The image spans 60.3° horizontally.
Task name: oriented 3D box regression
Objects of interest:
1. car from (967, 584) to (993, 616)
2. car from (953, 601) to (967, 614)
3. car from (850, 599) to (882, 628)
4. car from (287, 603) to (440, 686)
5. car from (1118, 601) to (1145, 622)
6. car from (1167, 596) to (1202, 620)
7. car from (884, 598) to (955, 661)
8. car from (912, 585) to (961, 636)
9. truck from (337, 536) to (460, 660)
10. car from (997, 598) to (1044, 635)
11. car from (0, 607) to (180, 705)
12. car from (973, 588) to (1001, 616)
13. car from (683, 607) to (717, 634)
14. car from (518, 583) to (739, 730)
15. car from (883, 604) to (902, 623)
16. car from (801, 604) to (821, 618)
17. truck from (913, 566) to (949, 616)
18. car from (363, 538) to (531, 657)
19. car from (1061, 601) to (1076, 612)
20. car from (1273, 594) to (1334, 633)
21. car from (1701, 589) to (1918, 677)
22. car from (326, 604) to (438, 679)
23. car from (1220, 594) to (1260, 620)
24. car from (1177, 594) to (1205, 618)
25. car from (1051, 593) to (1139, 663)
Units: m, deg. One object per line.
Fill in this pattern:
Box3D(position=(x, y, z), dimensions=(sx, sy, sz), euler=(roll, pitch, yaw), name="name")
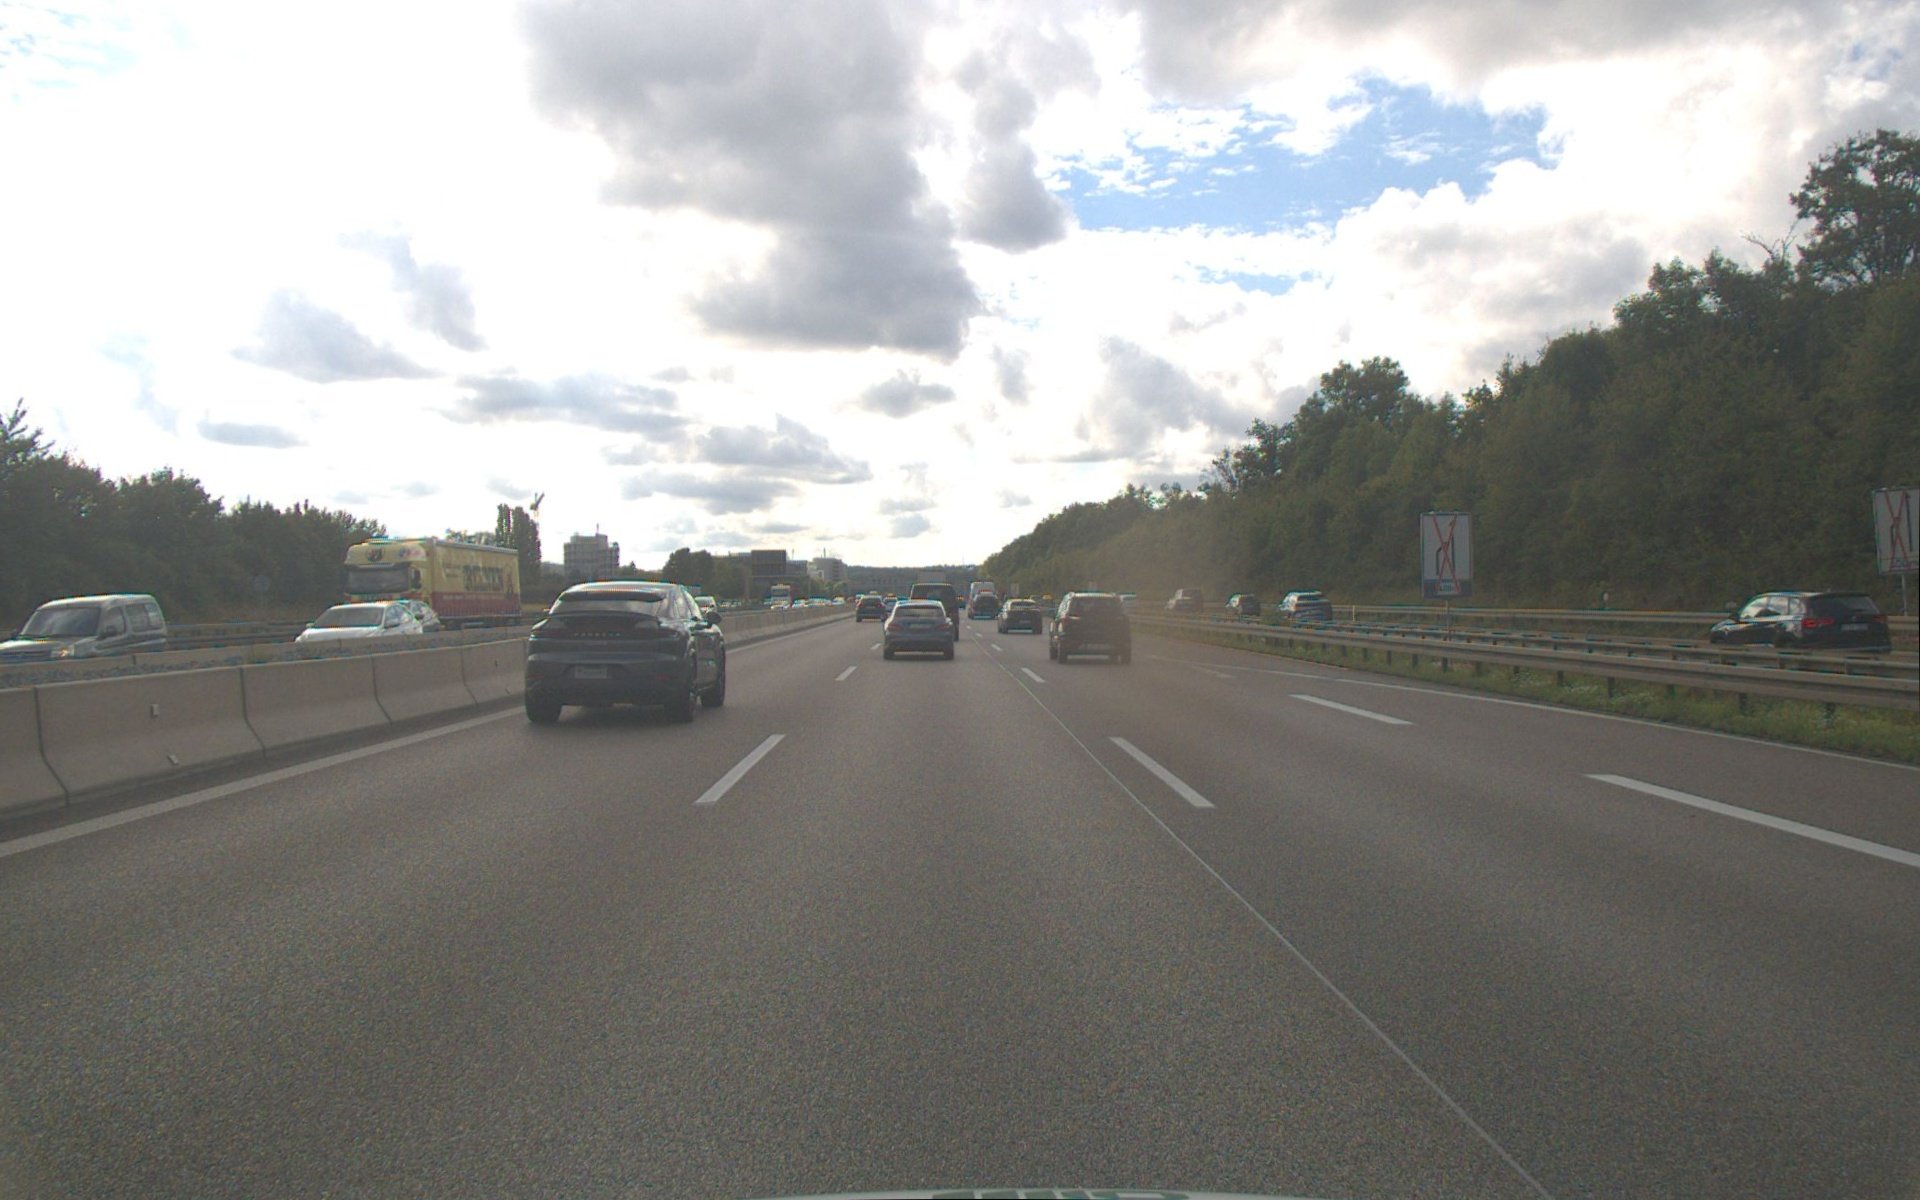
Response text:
Box3D(position=(1.468, 0.022, 124.834), dimensions=(1.835, 2.399, 4.281), euler=(0, 0, -1), name="car")
Box3D(position=(0.028, 0.964, 214.884), dimensions=(1.716, 1.725, 4.189), euler=(0, 0, -1), name="car")
Box3D(position=(-5.763, 0.824, 102.016), dimensions=(1.835, 1.728, 4.071), euler=(0, 0, -1), name="car")
Box3D(position=(-12.391, 0.877, 34.626), dimensions=(1.740, 1.599, 4.179), euler=(1, 0, -1), name="car")
Box3D(position=(14.598, 0.950, 140.960), dimensions=(1.716, 1.725, 4.189), euler=(0, 0, -1), name="car")
Box3D(position=(15.005, 0.515, 110.761), dimensions=(1.563, 1.573, 4.188), euler=(0, 0, -3), name="car")
Box3D(position=(-1.018, 0.707, 41.692), dimensions=(1.686, 1.505, 4.390), euler=(0, 0, -1), name="car")
Box3D(position=(-0.873, 0.375, 59.244), dimensions=(1.686, 1.754, 4.390), euler=(0, 0, -1), name="car")
Box3D(position=(-20.873, -0.067, 61.753), dimensions=(2.838, 4.399, 5.160), euler=(-1, 0, -1), name="truck")
Box3D(position=(2.617, 0.688, 71.855), dimensions=(1.795, 1.547, 4.224), euler=(0, 0, -1), name="car")
Box3D(position=(-16.125, 0.968, 30.399), dimensions=(1.562, 1.639, 4.462), euler=(0, 0, -2), name="car")
Box3D(position=(1.895, 0.148, 118.047), dimensions=(1.874, 1.952, 4.029), euler=(0, 0, -1), name="car")
Box3D(position=(-18.043, 1.393, 115.062), dimensions=(1.698, 1.826, 5.123), euler=(0, 0, -2), name="car")
Box3D(position=(-4.111, 0.640, 21.461), dimensions=(1.873, 1.665, 5.498), euler=(0, 0, -1), name="car")
Box3D(position=(-5.943, 1.190, 146.161), dimensions=(1.663, 1.639, 4.112), euler=(0, 0, -2), name="car")
Box3D(position=(-15.227, 1.129, 168.815), dimensions=(1.721, 1.427, 4.073), euler=(-1, 0, -1), name="car")
Box3D(position=(-2.696, -0.780, 155.143), dimensions=(3.197, 4.451, 11.023), euler=(1, 0, -1), name="truck")
Box3D(position=(-21.014, -0.107, 68.931), dimensions=(2.847, 4.401, 14.141), euler=(-1, 0, -1), name="car")
Box3D(position=(15.485, 0.921, 235.837), dimensions=(1.717, 1.543, 4.188), euler=(0, 0, -2), name="car")
Box3D(position=(15.793, 0.592, 76.294), dimensions=(1.809, 1.679, 4.305), euler=(-2, 0, -1), name="car")
Box3D(position=(16.421, 0.593, 32.258), dimensions=(1.806, 1.510, 4.524), euler=(-2, 0, -1), name="car")
Box3D(position=(-16.702, 1.149, 48.053), dimensions=(1.717, 2.049, 4.552), euler=(1, 0, -1), name="car")
Box3D(position=(18.309, 0.438, 108.393), dimensions=(1.694, 1.573, 4.303), euler=(-2, 0, -3), name="car")
Box3D(position=(18.226, 0.485, 130.701), dimensions=(1.563, 1.835, 3.823), euler=(0, 0, -3), name="car")
Box3D(position=(3.221, 0.643, 40.009), dimensions=(1.663, 1.592, 4.112), euler=(0, 0, -2), name="car")
